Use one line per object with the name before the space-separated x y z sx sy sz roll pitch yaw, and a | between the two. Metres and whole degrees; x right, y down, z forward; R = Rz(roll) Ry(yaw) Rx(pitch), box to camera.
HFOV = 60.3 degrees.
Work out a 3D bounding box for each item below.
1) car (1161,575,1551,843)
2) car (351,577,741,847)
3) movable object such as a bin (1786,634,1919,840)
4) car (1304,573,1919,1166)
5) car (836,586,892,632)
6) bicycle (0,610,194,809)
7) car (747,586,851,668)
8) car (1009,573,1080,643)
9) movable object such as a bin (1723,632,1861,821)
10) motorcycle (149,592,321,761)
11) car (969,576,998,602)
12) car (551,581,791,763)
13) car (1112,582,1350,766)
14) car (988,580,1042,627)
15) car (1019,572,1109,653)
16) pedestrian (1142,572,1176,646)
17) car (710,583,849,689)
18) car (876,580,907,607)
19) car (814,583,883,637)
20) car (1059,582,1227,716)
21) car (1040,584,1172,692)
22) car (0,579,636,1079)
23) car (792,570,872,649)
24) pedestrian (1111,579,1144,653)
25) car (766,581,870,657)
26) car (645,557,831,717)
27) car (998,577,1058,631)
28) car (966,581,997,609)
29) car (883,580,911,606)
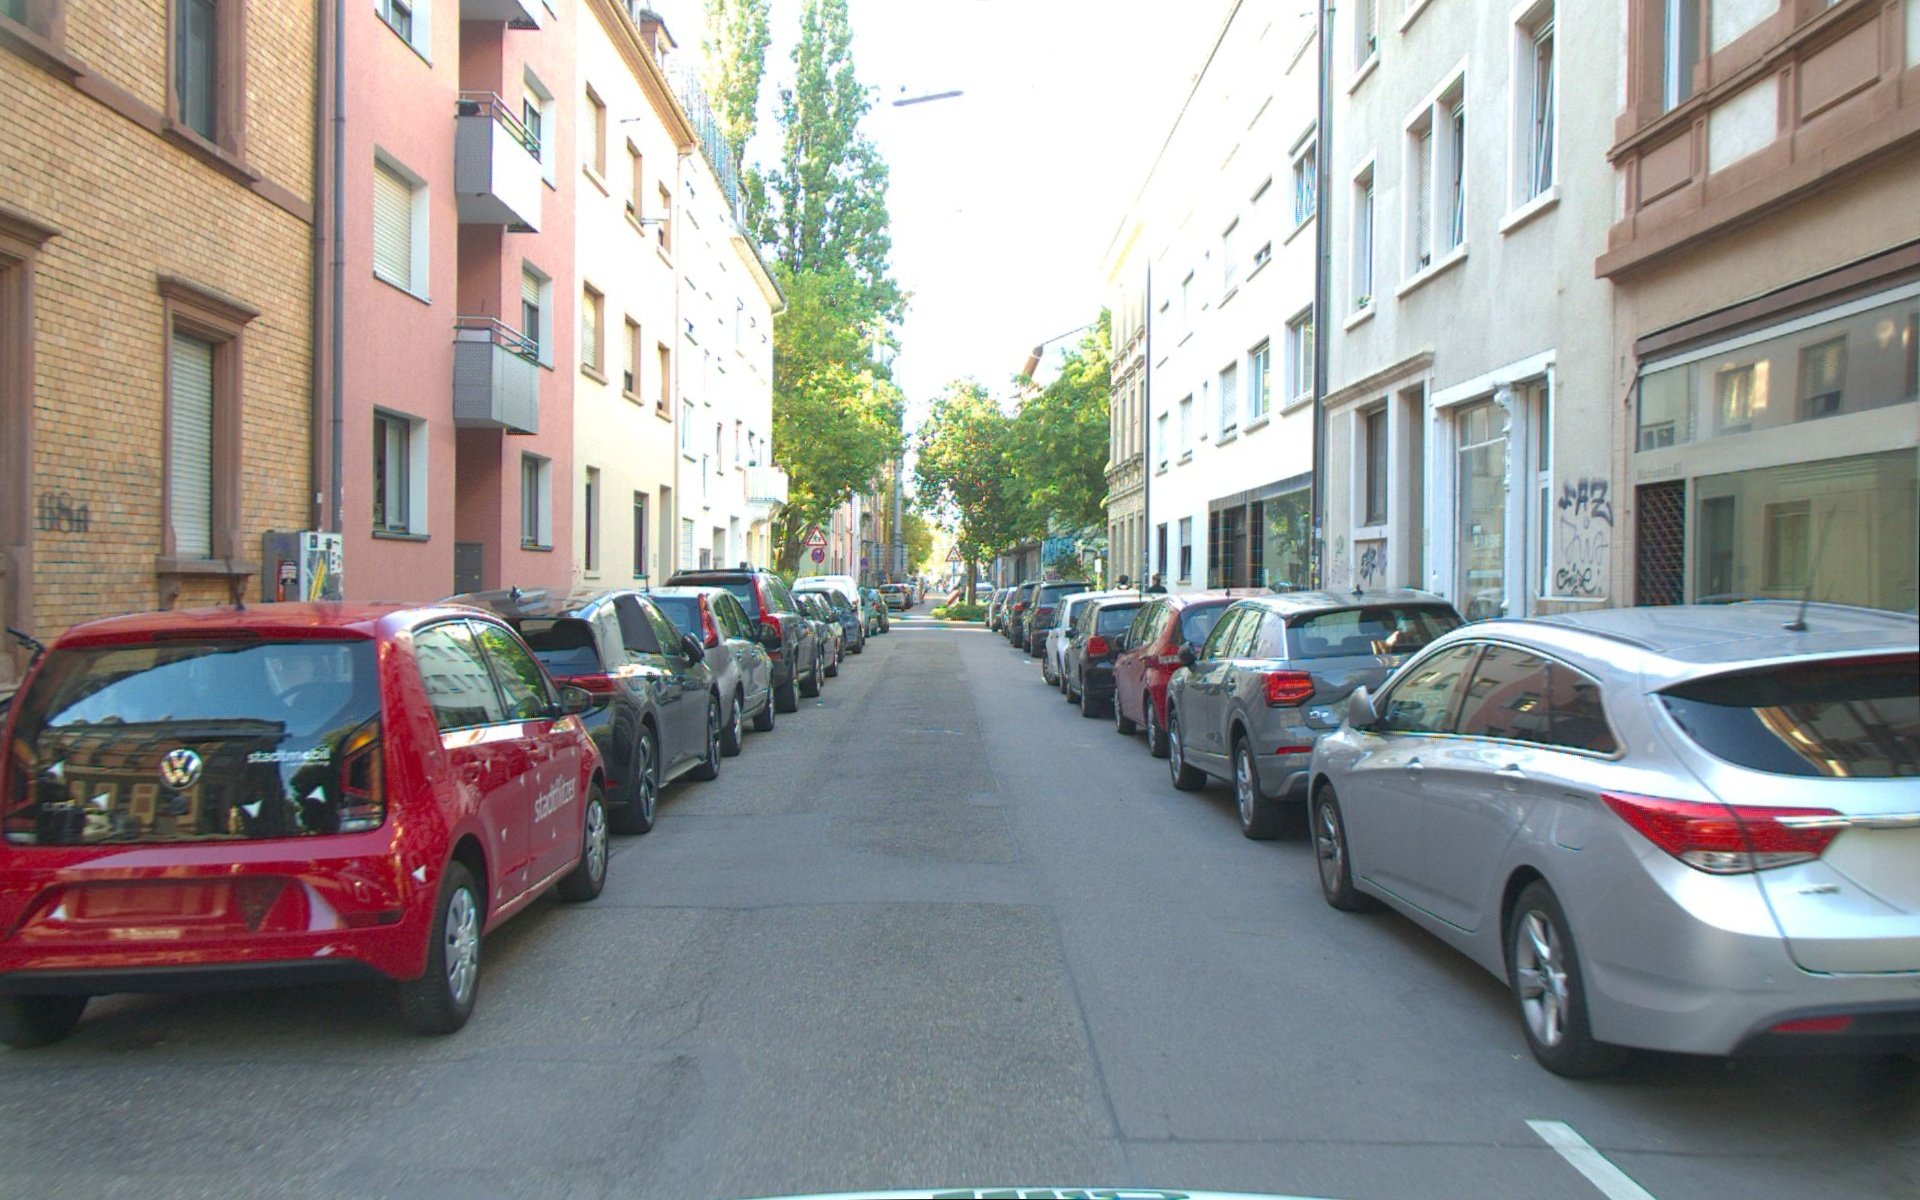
car | 2.590 0.613 11.789 1.708 1.533 4.020 -2 1 -1
car | -2.723 0.635 11.848 1.660 1.547 4.096 -2 1 1
movable object such as a bin | 4.949 0.731 9.072 0.503 1.058 0.619 -1 0 0
car | 2.745 0.684 6.609 1.708 1.533 4.357 -2 1 -1
car | -3.125 0.261 54.283 1.636 1.384 4.048 -2 1 -1
bicycle | -5.671 0.651 10.654 0.522 1.092 1.891 4 1 0
car | -3.075 0.474 32.272 1.639 1.412 4.181 -2 1 -1
car | 2.183 0.195 43.402 1.641 1.711 4.094 -2 0 0
movable object such as a bin | 4.943 0.735 9.849 0.503 1.058 0.594 -1 0 0
motorcycle | -5.681 0.556 13.072 0.522 1.227 1.908 0 1 0
car | 1.442 -0.698 103.229 1.642 1.513 3.637 -2 1 -1
car | -2.775 0.620 16.686 1.622 1.547 3.945 -2 1 1
car | 2.560 0.623 16.531 1.566 1.533 4.183 -2 1 -1
car | 1.884 0.093 57.819 1.642 1.513 4.094 -2 1 -1
car | 2.360 0.255 38.449 1.642 1.655 4.249 -4 1 -1
pedestrian | 4.601 0.209 38.294 0.671 1.689 0.717 -1 1 -1
car | -2.884 0.526 27.246 1.707 1.533 4.347 -2 1 1
car | -3.922 -0.391 95.328 1.642 1.513 4.094 -2 1 -1
car | -3.331 0.279 50.070 1.635 1.495 3.822 -2 1 2
car | 2.303 0.562 21.688 1.642 1.533 3.936 -2 1 -1
car | 2.260 0.539 26.413 1.642 1.533 3.936 -2 1 -1
car | -2.501 0.695 6.960 1.595 1.507 3.600 -2 1 -1
car | -3.140 0.199 41.337 1.729 1.816 4.038 -2 1 -1
pedestrian | 3.857 0.366 38.210 0.671 1.689 0.717 -1 1 -1
car | -3.085 0.374 36.664 1.638 1.512 3.994 -2 1 4
car | -2.805 0.402 21.885 1.707 1.842 4.673 -2 1 1
car | 2.142 0.098 52.918 1.642 1.588 3.795 -2 1 -1
car | 1.244 -0.296 96.804 1.642 1.513 3.637 -2 1 -1
car | -3.809 -0.435 100.517 1.642 1.513 4.094 -2 1 -1
